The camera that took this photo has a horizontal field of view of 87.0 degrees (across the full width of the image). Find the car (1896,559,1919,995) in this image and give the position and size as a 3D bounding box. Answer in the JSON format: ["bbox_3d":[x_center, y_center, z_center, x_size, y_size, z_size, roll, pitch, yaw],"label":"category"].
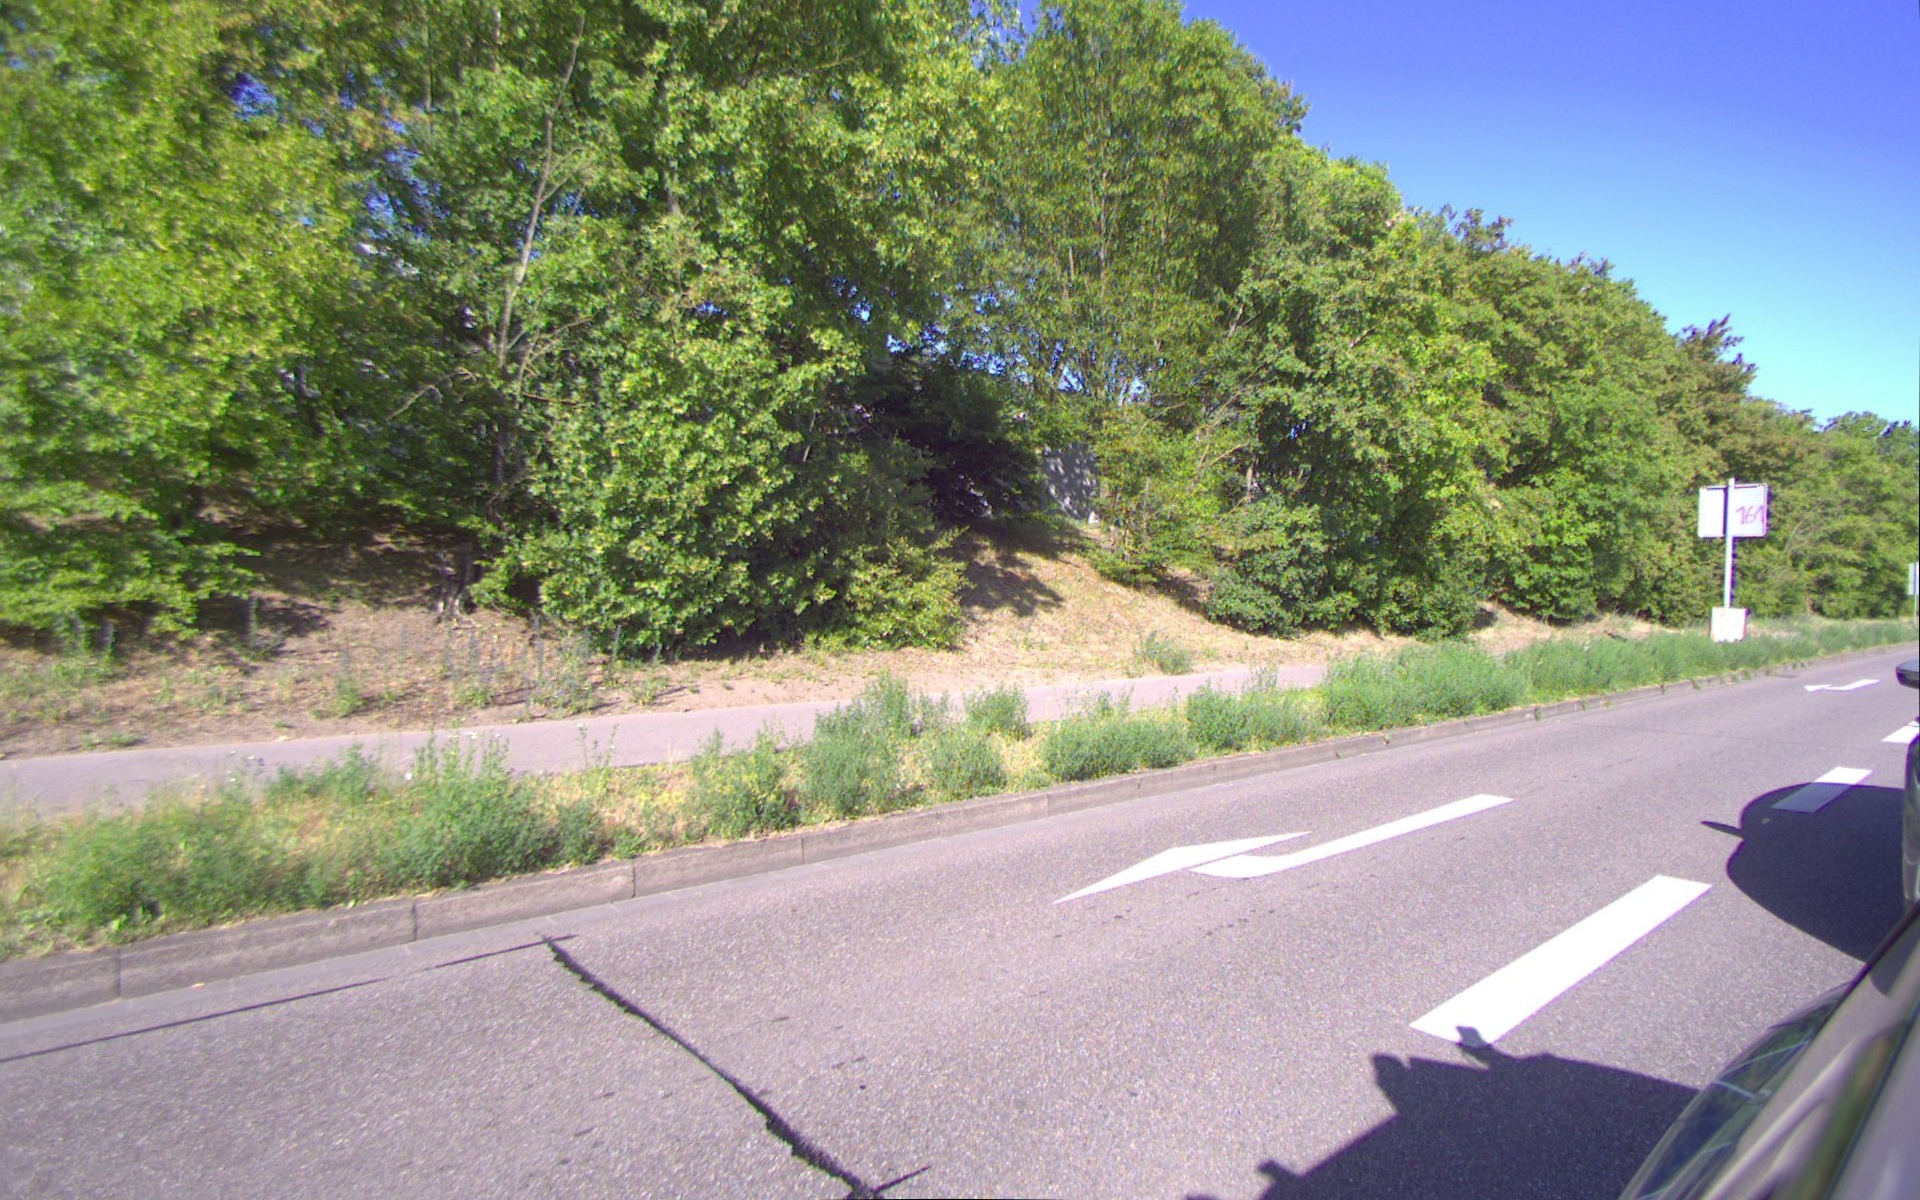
[{"bbox_3d":[5.710,0.652,4.519,4.327,1.603,1.860,0,0,-42],"label":"car"}]
